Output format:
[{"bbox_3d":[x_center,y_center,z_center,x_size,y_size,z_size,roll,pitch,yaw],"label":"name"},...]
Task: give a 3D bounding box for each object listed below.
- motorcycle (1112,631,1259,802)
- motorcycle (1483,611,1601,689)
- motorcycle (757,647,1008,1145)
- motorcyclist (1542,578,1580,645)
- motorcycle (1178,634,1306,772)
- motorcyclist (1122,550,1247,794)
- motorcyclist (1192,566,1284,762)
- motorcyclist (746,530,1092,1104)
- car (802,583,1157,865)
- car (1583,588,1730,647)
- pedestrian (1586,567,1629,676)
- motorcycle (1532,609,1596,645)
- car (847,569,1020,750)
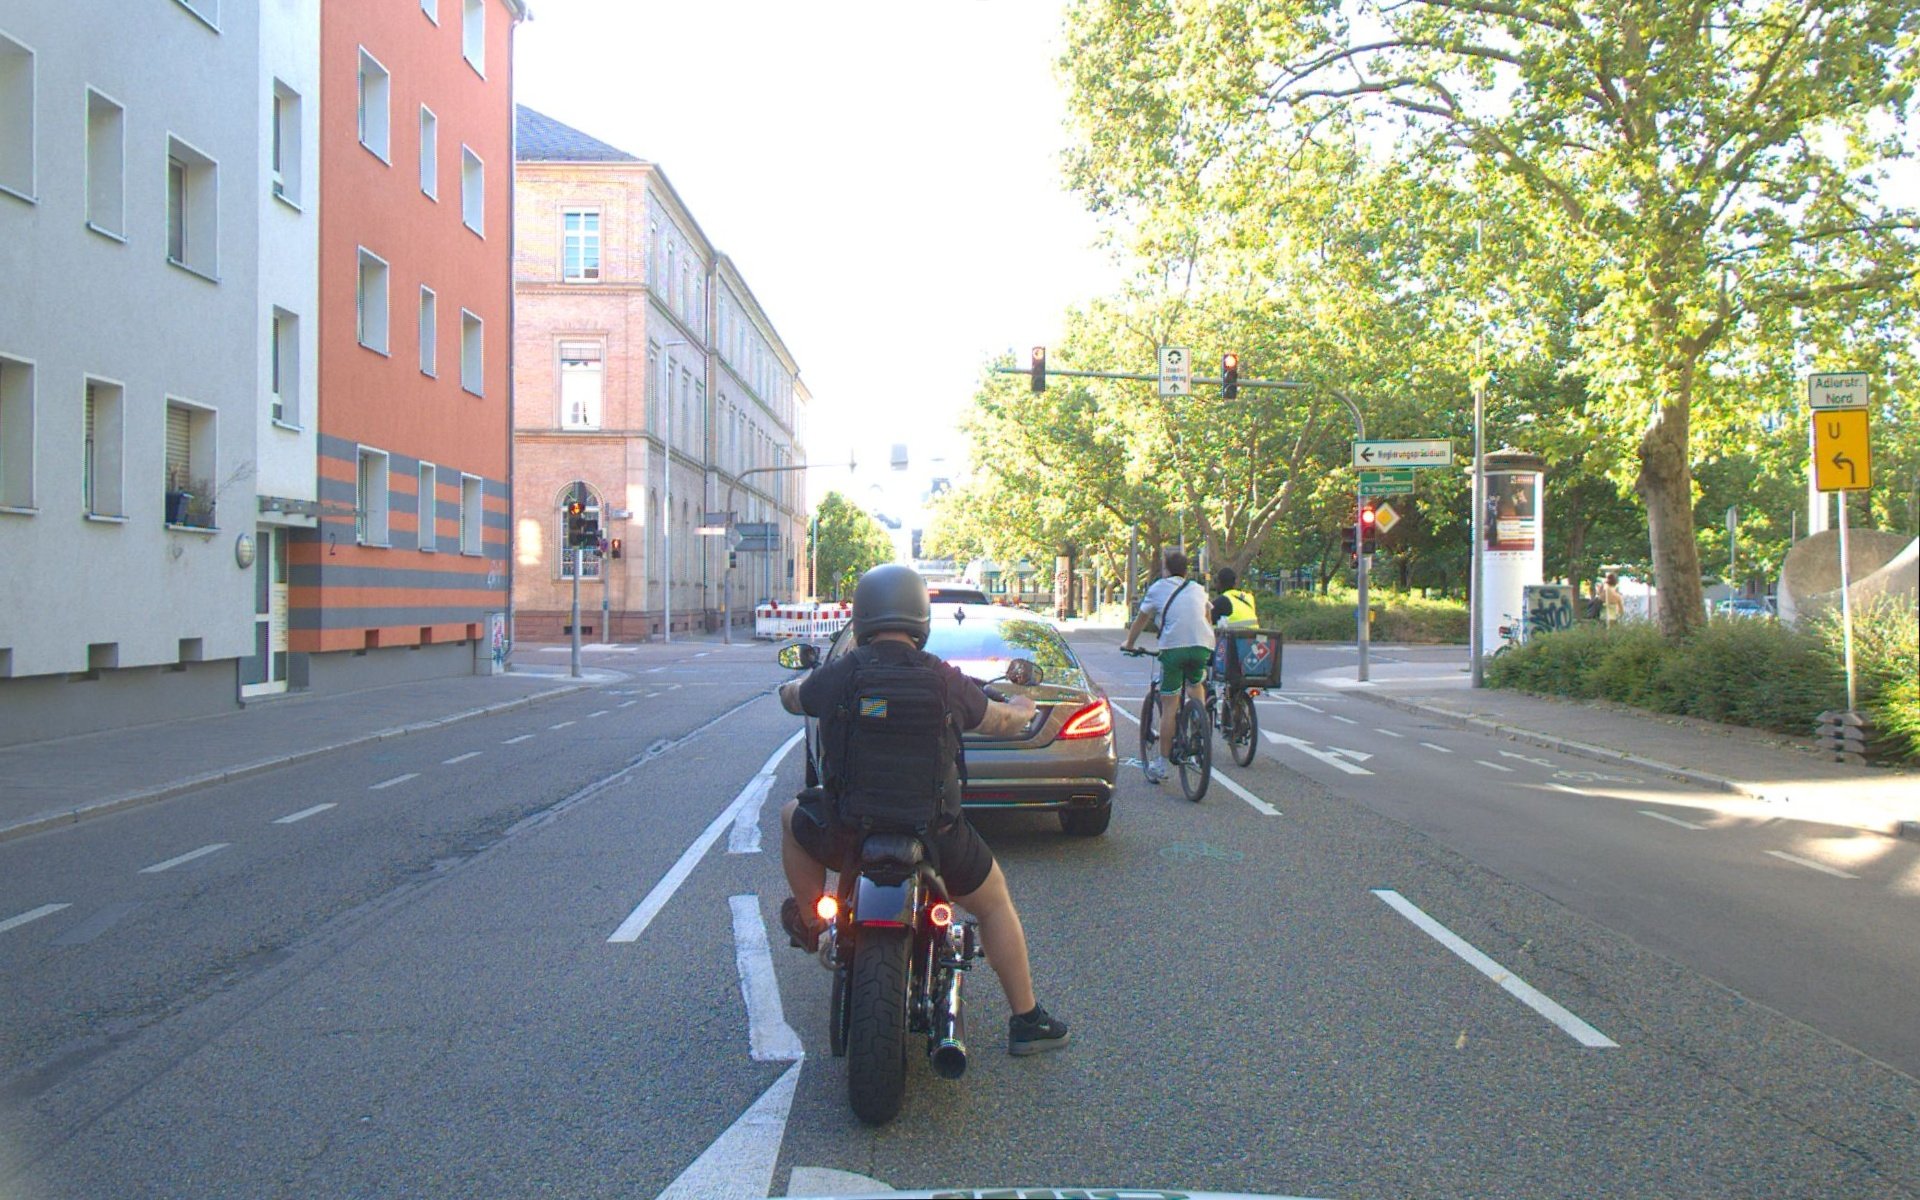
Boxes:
[{"bbox_3d":[1.713,0.860,12.872,0.845,1.189,1.929,1,0,-1],"label":"motorcycle"},{"bbox_3d":[9.775,0.837,27.820,1.743,1.265,0.723,1,0,4],"label":"motorcycle"},{"bbox_3d":[-0.220,0.814,5.413,0.646,1.261,2.057,1,0,-1],"label":"motorcycle"},{"bbox_3d":[17.315,0.331,47.671,0.962,1.909,0.376,0,-1,3],"label":"motorcyclist"},{"bbox_3d":[2.611,0.921,15.559,0.781,1.151,2.236,1,0,-1],"label":"motorcycle"},{"bbox_3d":[1.735,0.541,12.890,0.814,1.820,0.913,1,-1,-1],"label":"motorcyclist"},{"bbox_3d":[2.589,0.587,15.463,0.702,1.773,0.751,1,-1,-1],"label":"motorcyclist"},{"bbox_3d":[-0.124,0.627,5.323,0.970,1.639,1.120,1,0,-1],"label":"motorcyclist"},{"bbox_3d":[-0.086,0.682,11.122,1.790,1.512,4.326,1,0,-7],"label":"car"},{"bbox_3d":[21.990,0.540,52.291,3.907,1.803,1.737,0,0,-3],"label":"car"},{"bbox_3d":[11.230,0.360,28.697,0.634,1.859,0.668,0,0,16],"label":"pedestrian"},{"bbox_3d":[17.409,0.779,47.649,1.683,1.019,0.416,0,0,3],"label":"motorcycle"},{"bbox_3d":[-0.276,0.573,17.661,1.618,1.681,3.999,1,0,-1],"label":"car"}]
